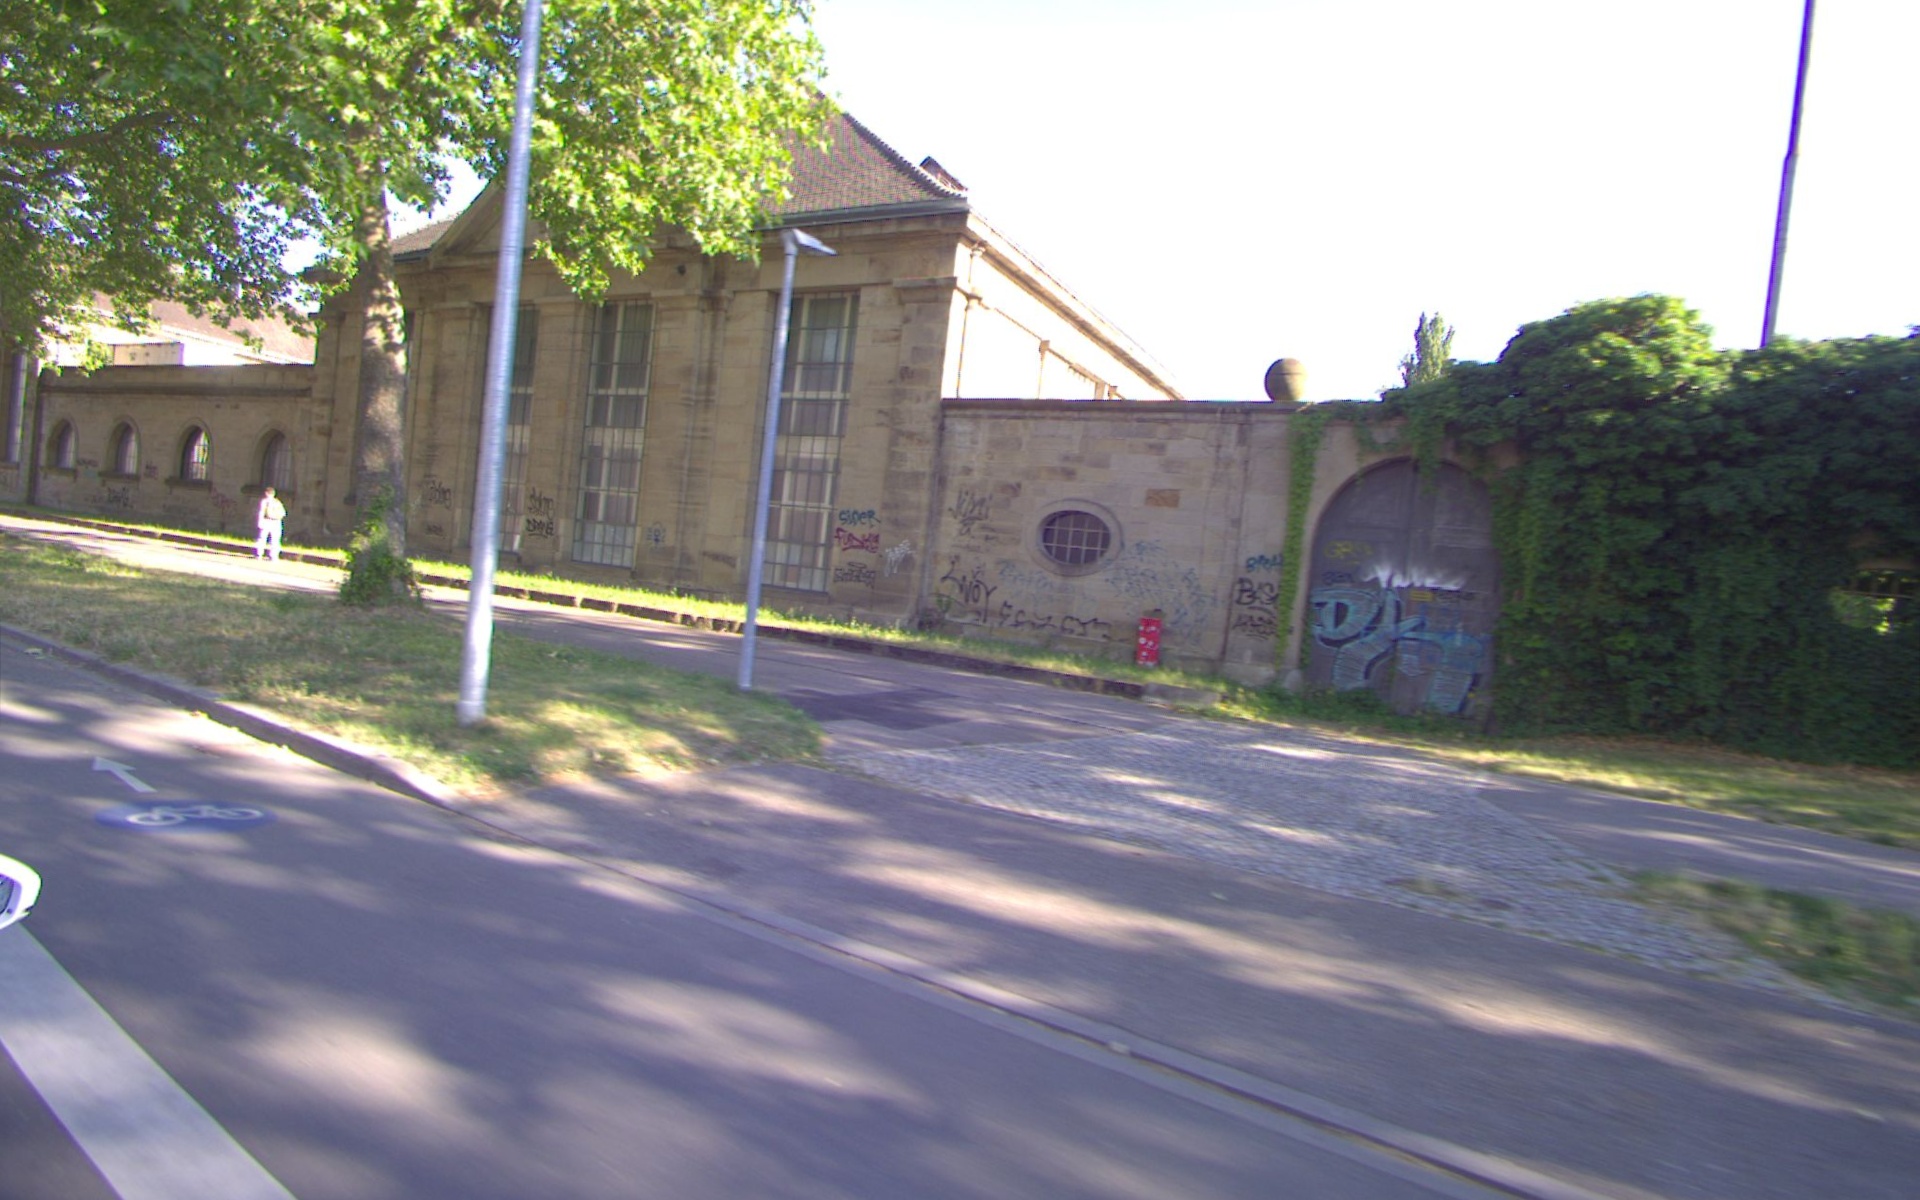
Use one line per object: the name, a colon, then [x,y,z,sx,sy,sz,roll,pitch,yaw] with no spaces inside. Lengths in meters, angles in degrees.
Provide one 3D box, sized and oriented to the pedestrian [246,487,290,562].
pedestrian: [-16.405,-1.774,23.848,0.625,1.706,0.608,7,6,27]
